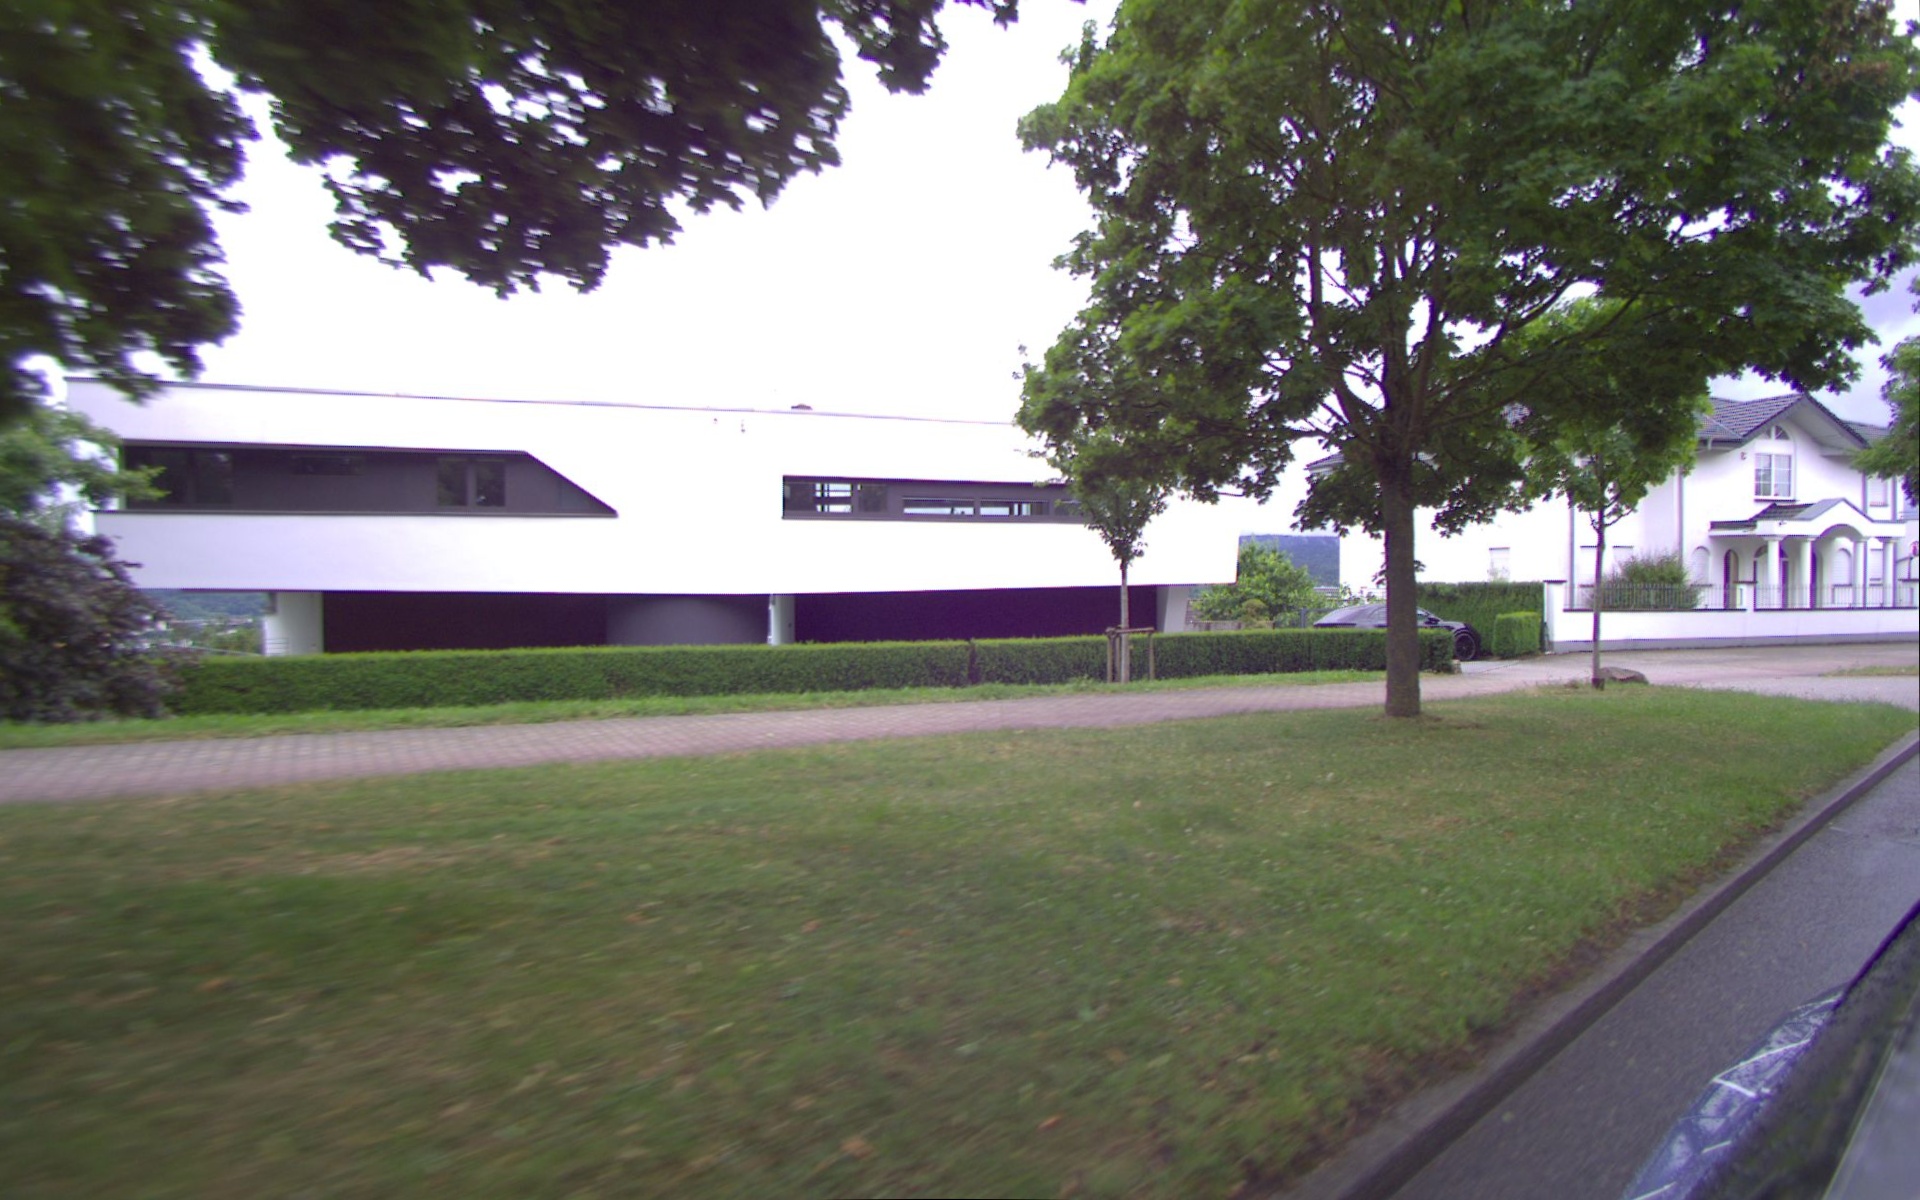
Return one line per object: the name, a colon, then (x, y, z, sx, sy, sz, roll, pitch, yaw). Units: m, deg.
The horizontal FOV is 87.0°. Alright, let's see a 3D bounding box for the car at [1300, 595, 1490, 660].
car: (11.550, 0.701, 26.930, 4.366, 1.570, 1.930, -1, -1, -17)
